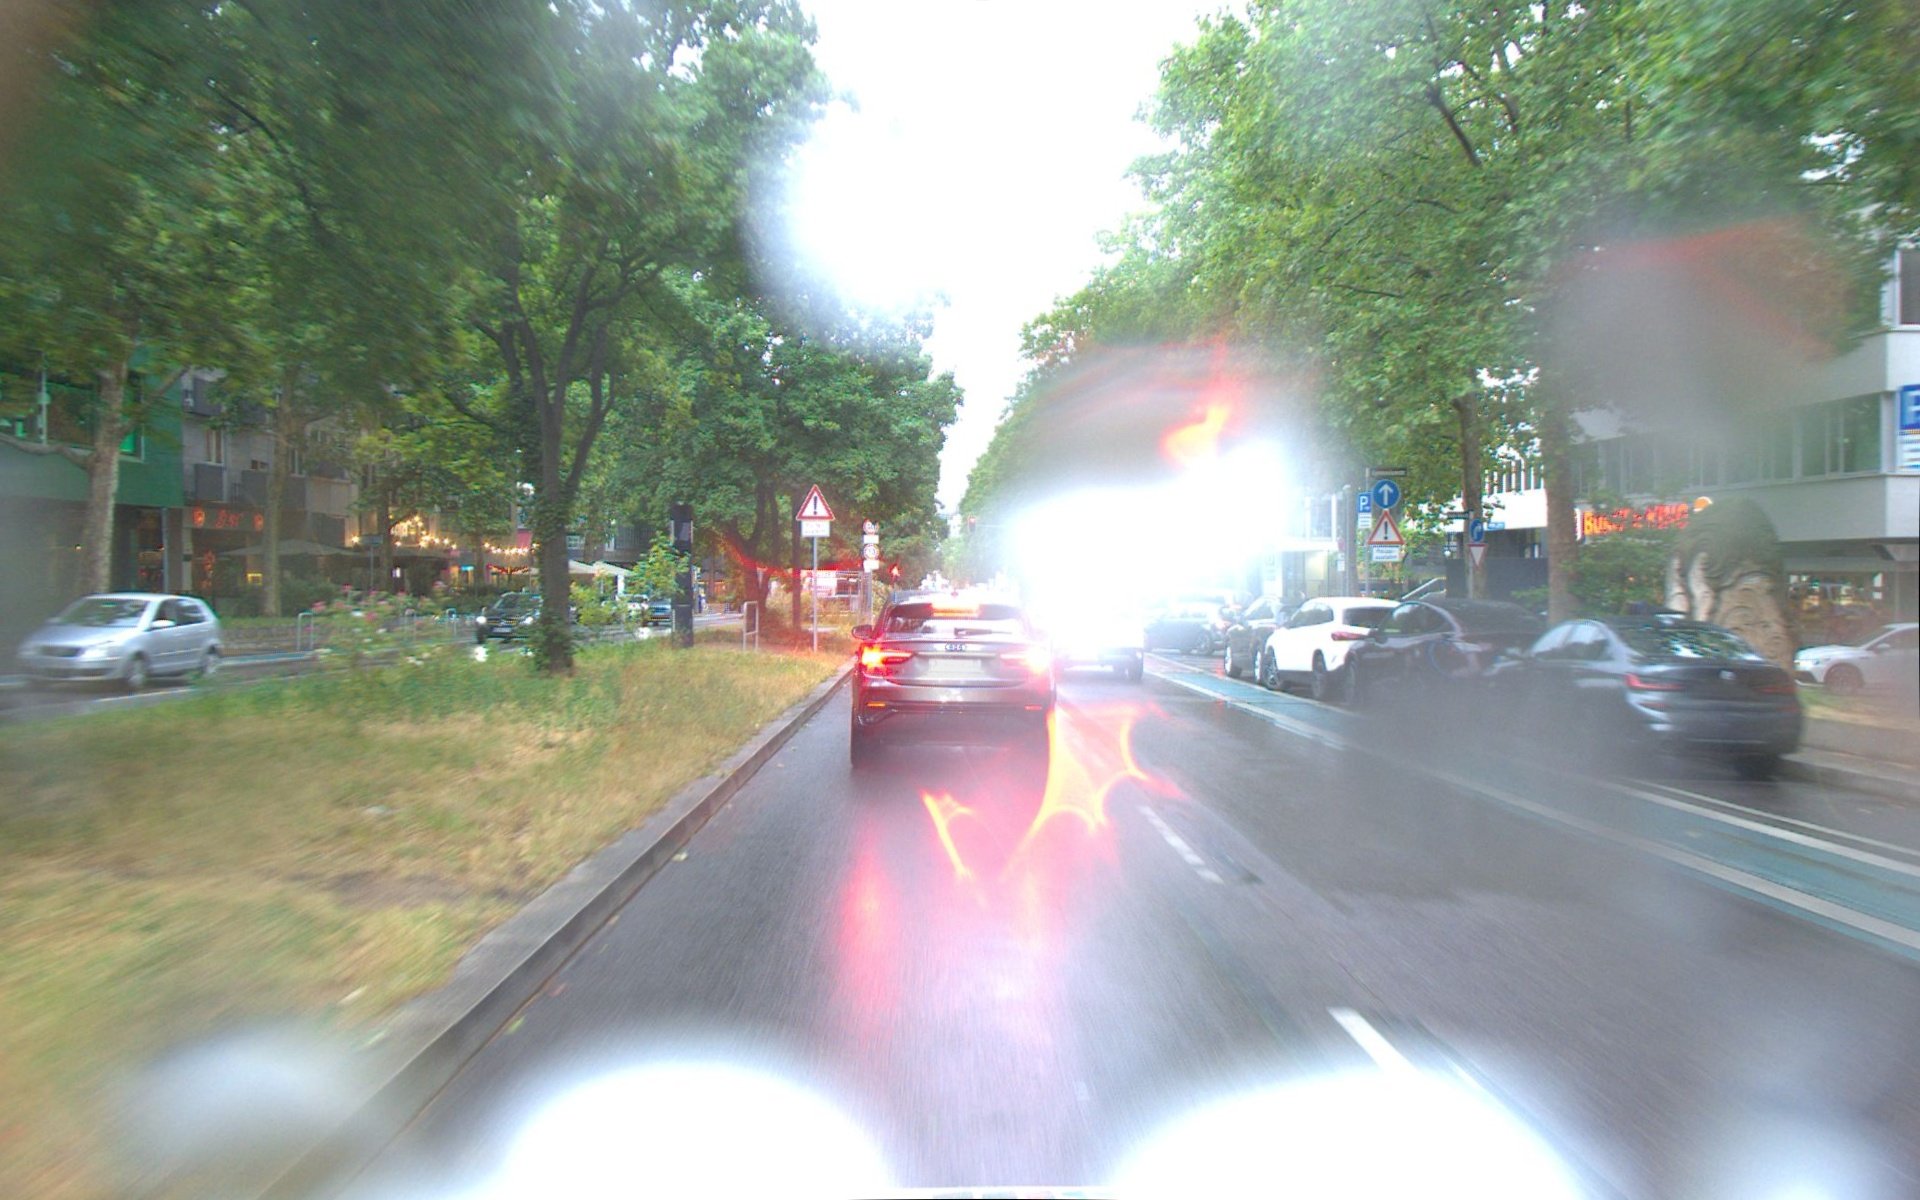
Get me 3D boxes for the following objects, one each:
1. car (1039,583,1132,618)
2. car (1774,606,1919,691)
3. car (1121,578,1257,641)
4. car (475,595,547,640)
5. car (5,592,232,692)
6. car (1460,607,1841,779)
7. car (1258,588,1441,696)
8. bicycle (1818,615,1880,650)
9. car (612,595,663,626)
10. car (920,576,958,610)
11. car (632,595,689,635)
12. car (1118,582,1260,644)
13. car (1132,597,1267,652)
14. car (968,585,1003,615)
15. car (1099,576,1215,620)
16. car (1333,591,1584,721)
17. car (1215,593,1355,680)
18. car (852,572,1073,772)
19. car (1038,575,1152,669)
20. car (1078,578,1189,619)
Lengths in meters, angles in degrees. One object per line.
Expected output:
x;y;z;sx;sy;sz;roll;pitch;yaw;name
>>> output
6.717;0.011;88.880;4.548;1.736;1.998;1;-1;27;car
18.816;0.985;33.133;4.155;1.594;2.056;2;-1;16;car
8.858;0.348;64.067;4.787;2.293;1.997;1;-1;28;car
-13.461;0.515;49.695;1.658;1.280;3.637;2;0;-9;car
-13.109;0.622;26.015;1.615;1.460;3.812;0;0;0;car
6.741;0.823;16.772;1.835;1.446;4.610;2;0;-1;car
6.305;0.653;27.225;1.694;1.599;4.069;2;0;-5;car
22.691;0.816;42.255;0.439;0.851;2.026;2;0;-1;bicycle
-16.800;0.547;86.305;1.690;1.545;4.001;2;0;3;car
-1.161;-0.346;90.813;1.953;1.757;3.998;2;0;-2;car
-13.843;0.705;76.643;1.724;1.733;4.333;2;0;1;car
7.986;0.440;57.764;4.517;2.049;1.960;1;-1;37;car
6.595;0.655;45.833;1.544;1.402;3.825;2;-1;-33;car
1.517;0.014;99.259;1.953;1.680;3.999;2;0;-1;car
8.481;-0.087;71.215;4.548;1.736;1.998;1;-1;27;car
6.622;0.702;22.531;1.830;1.547;4.556;2;0;-3;car
6.258;0.673;32.244;1.662;1.550;4.020;2;0;-4;car
-0.047;0.596;15.715;1.812;1.630;3.998;1;0;-2;car
2.648;0.434;33.202;1.840;1.727;3.999;2;0;-1;car
7.861;-0.066;74.869;4.548;1.736;1.998;1;-1;27;car
